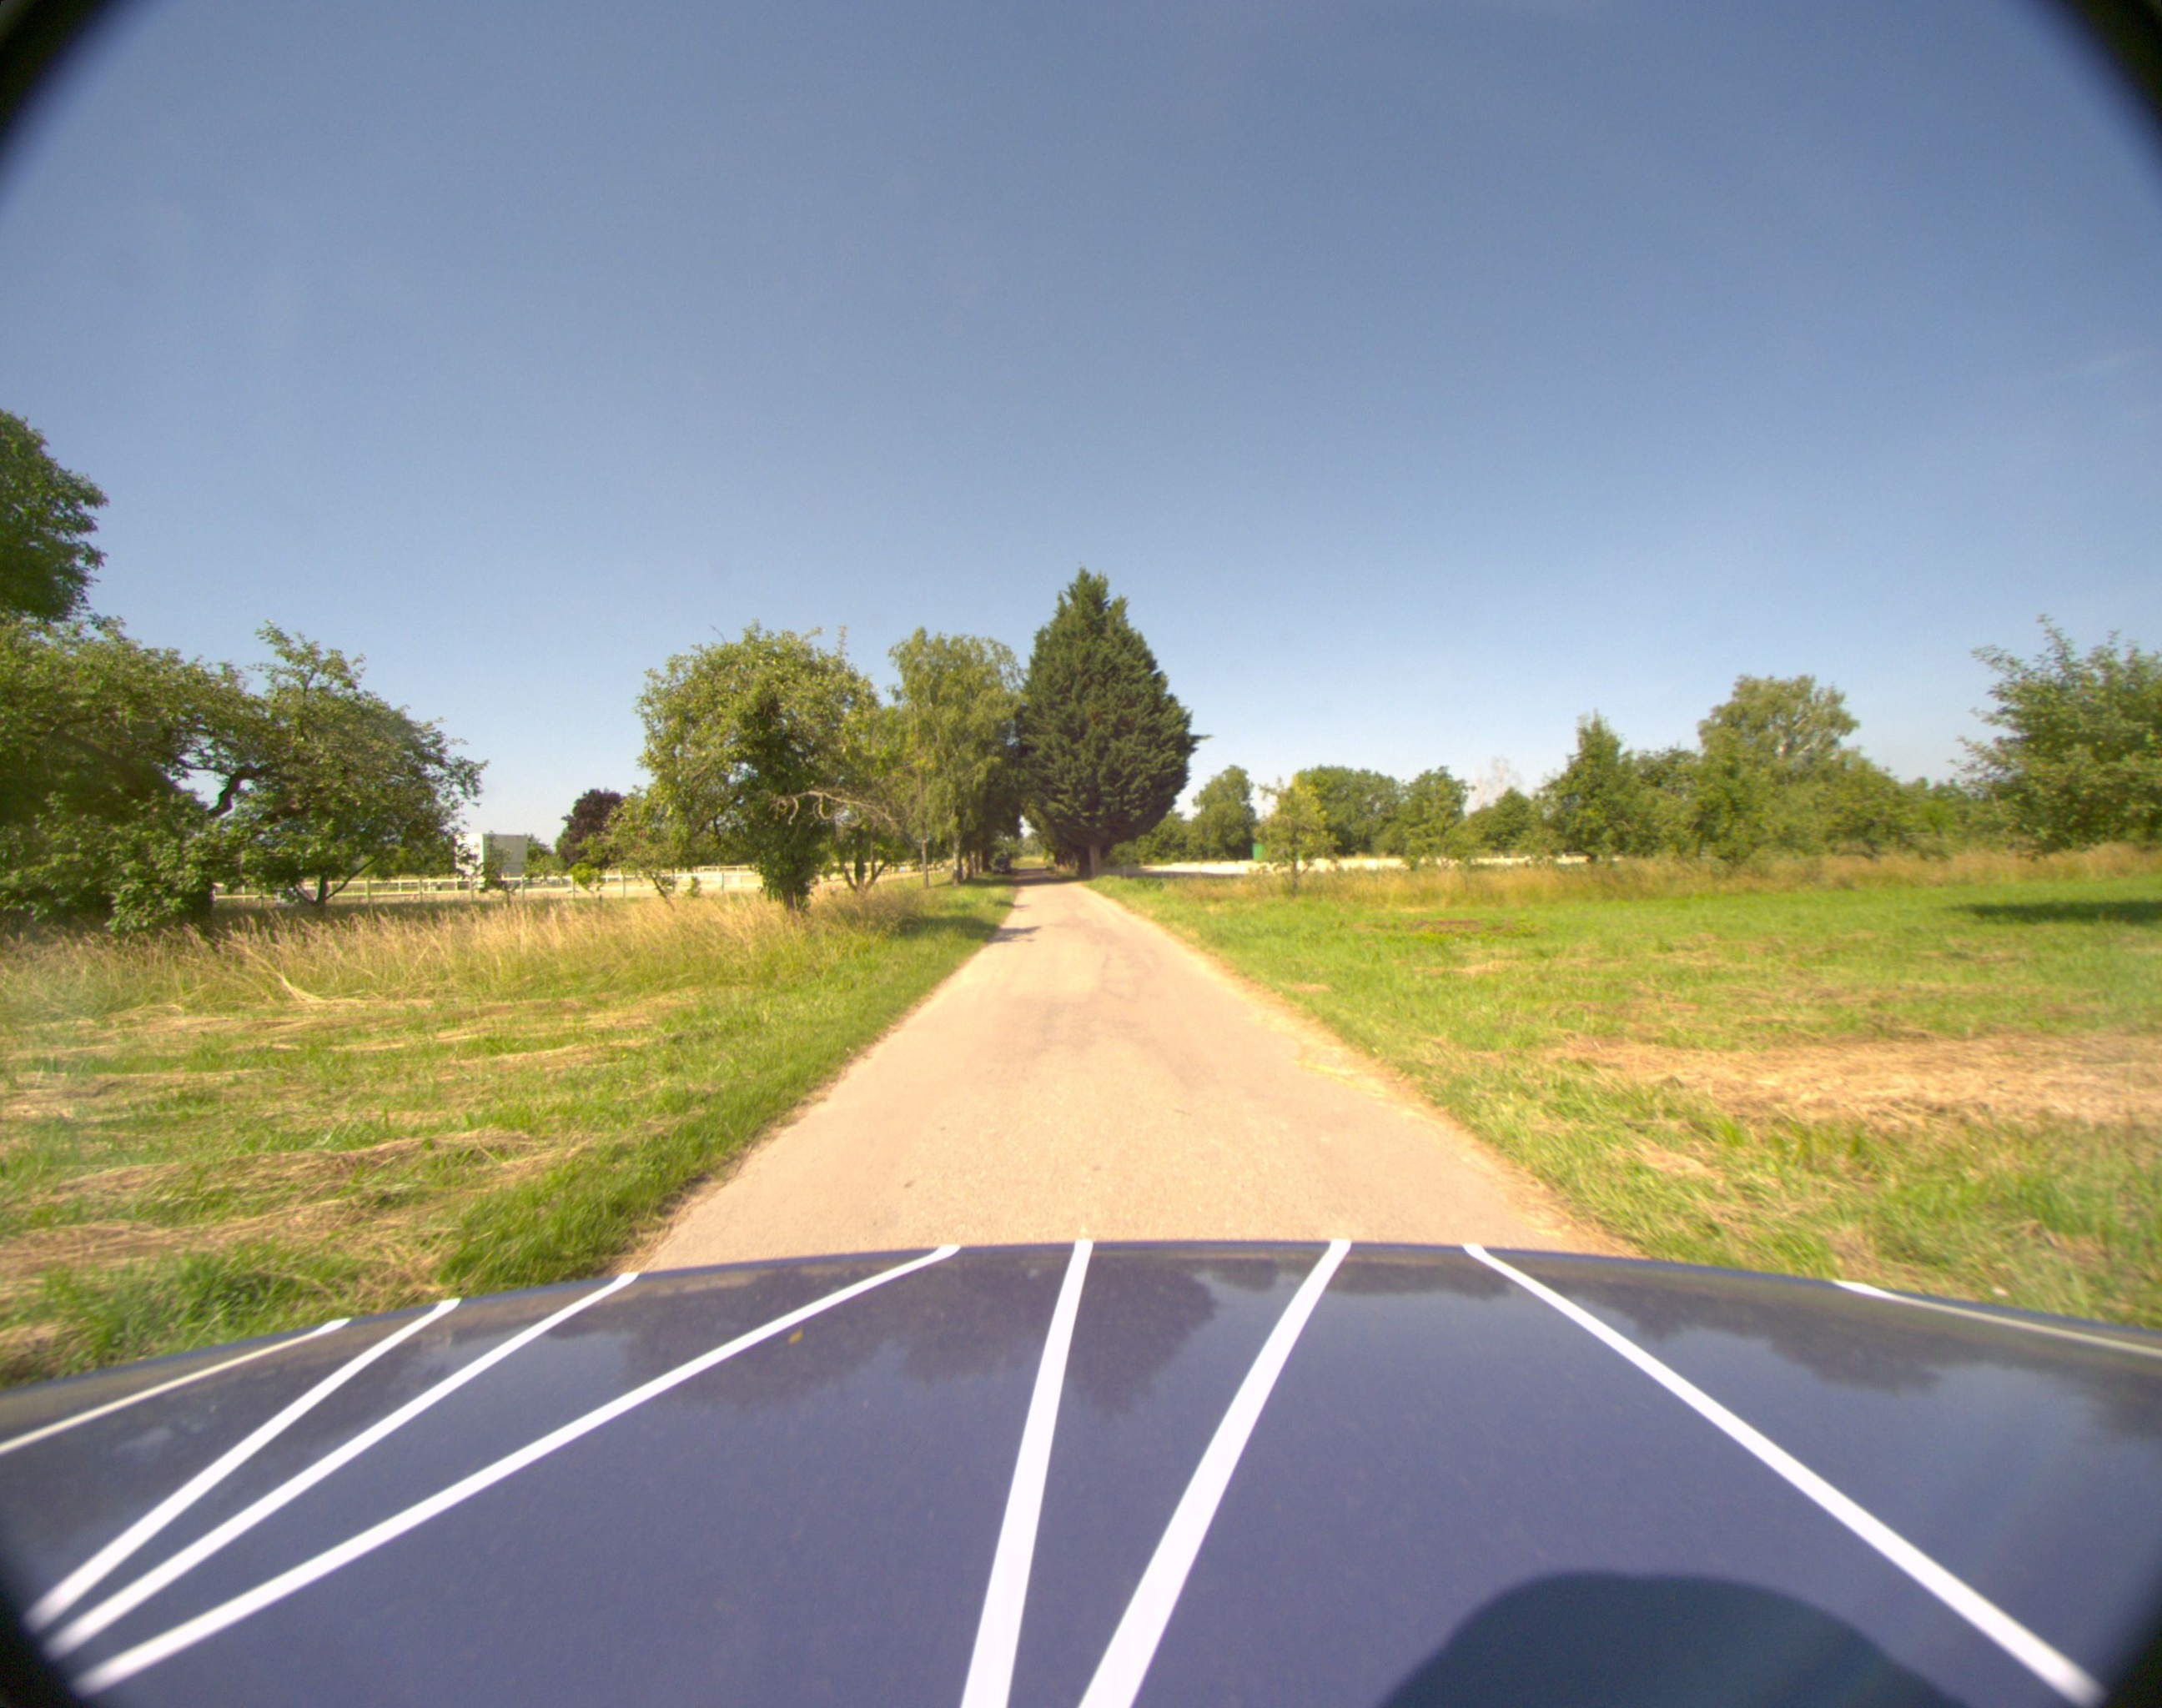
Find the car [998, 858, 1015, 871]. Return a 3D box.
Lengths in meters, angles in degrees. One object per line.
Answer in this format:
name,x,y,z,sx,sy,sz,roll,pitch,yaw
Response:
car,-7.695,1.062,78.490,1.722,1.312,3.741,-2,0,-6
